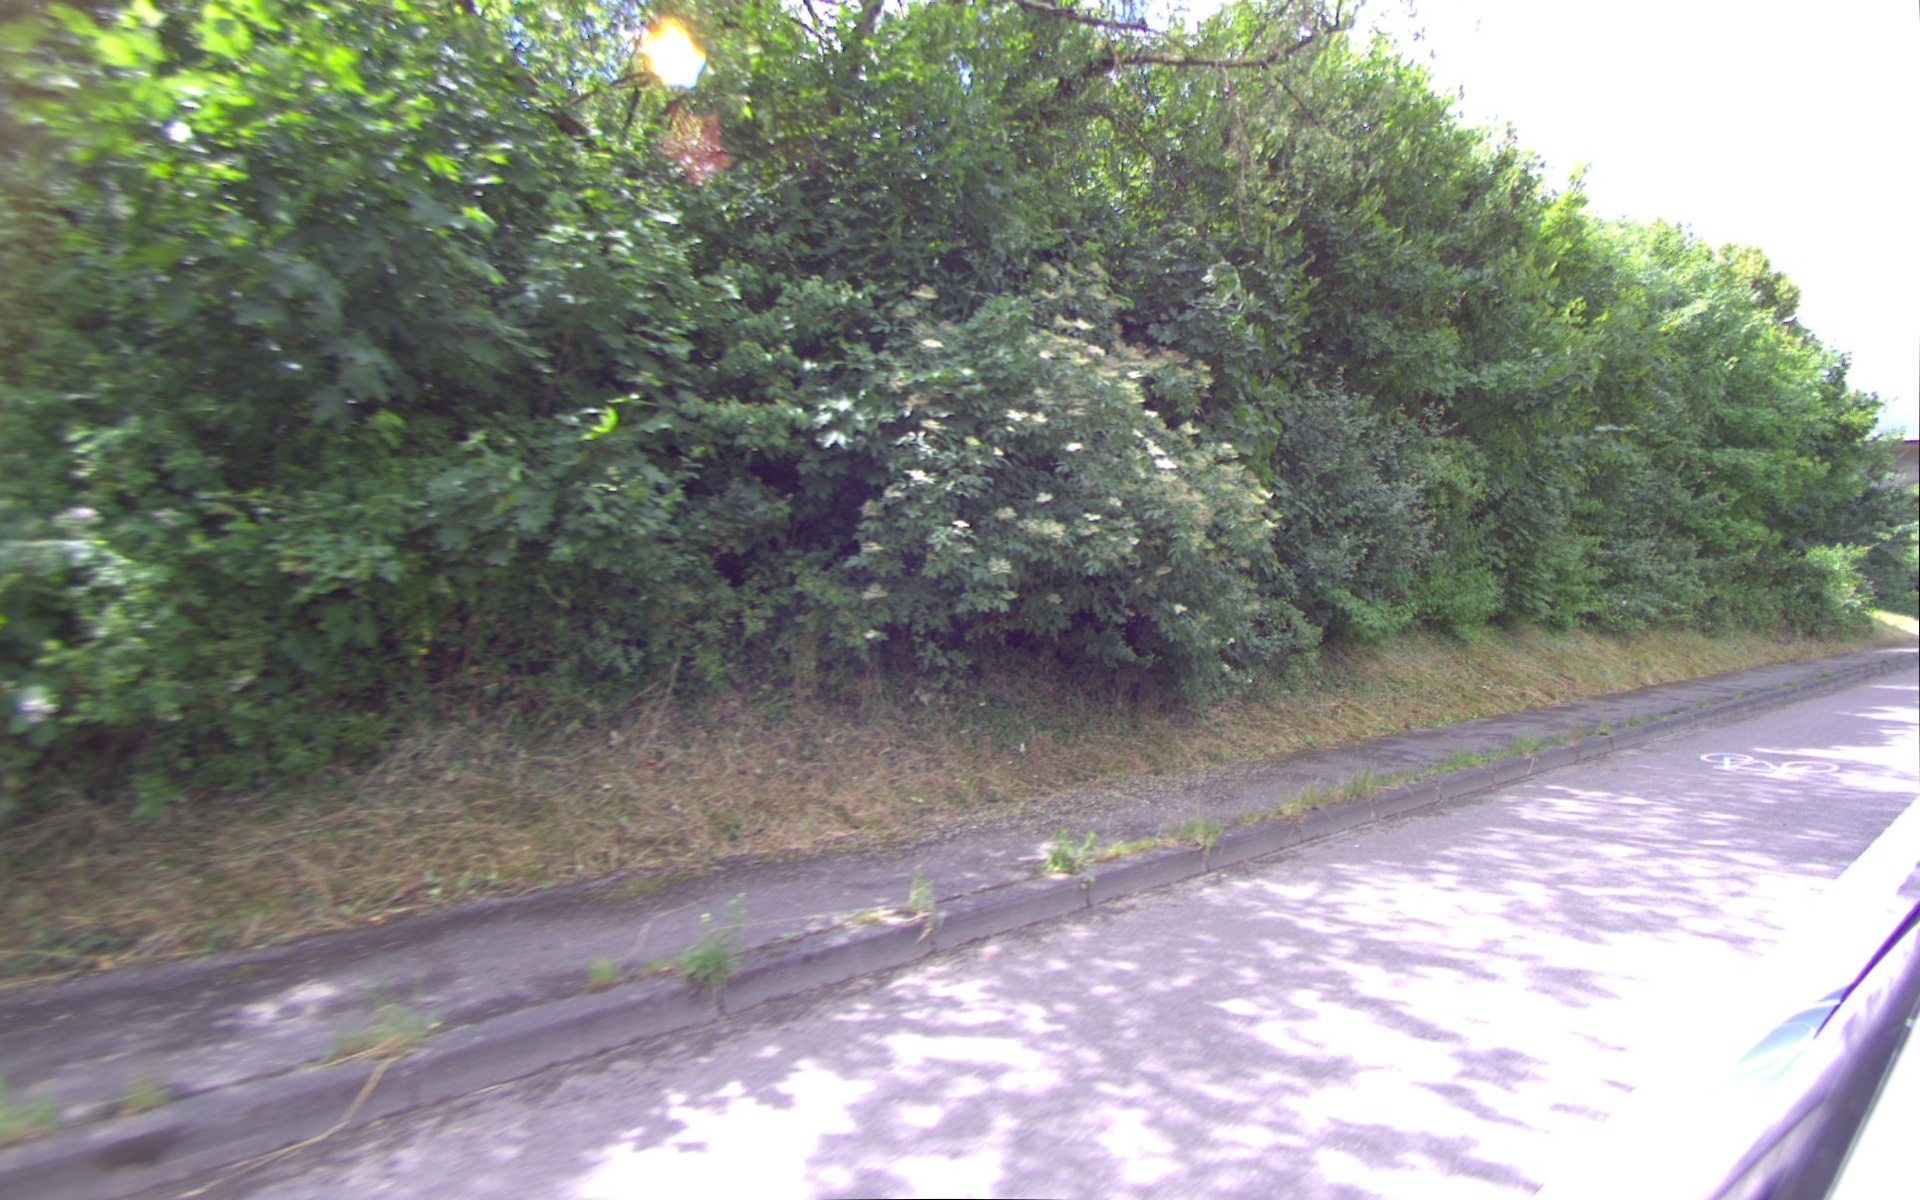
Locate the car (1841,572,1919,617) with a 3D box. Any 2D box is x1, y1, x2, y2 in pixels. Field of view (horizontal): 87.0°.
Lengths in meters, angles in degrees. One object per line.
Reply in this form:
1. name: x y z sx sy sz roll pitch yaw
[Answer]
1. car: 45.168 -0.161 48.056 1.963 1.689 4.545 -3 10 -36
